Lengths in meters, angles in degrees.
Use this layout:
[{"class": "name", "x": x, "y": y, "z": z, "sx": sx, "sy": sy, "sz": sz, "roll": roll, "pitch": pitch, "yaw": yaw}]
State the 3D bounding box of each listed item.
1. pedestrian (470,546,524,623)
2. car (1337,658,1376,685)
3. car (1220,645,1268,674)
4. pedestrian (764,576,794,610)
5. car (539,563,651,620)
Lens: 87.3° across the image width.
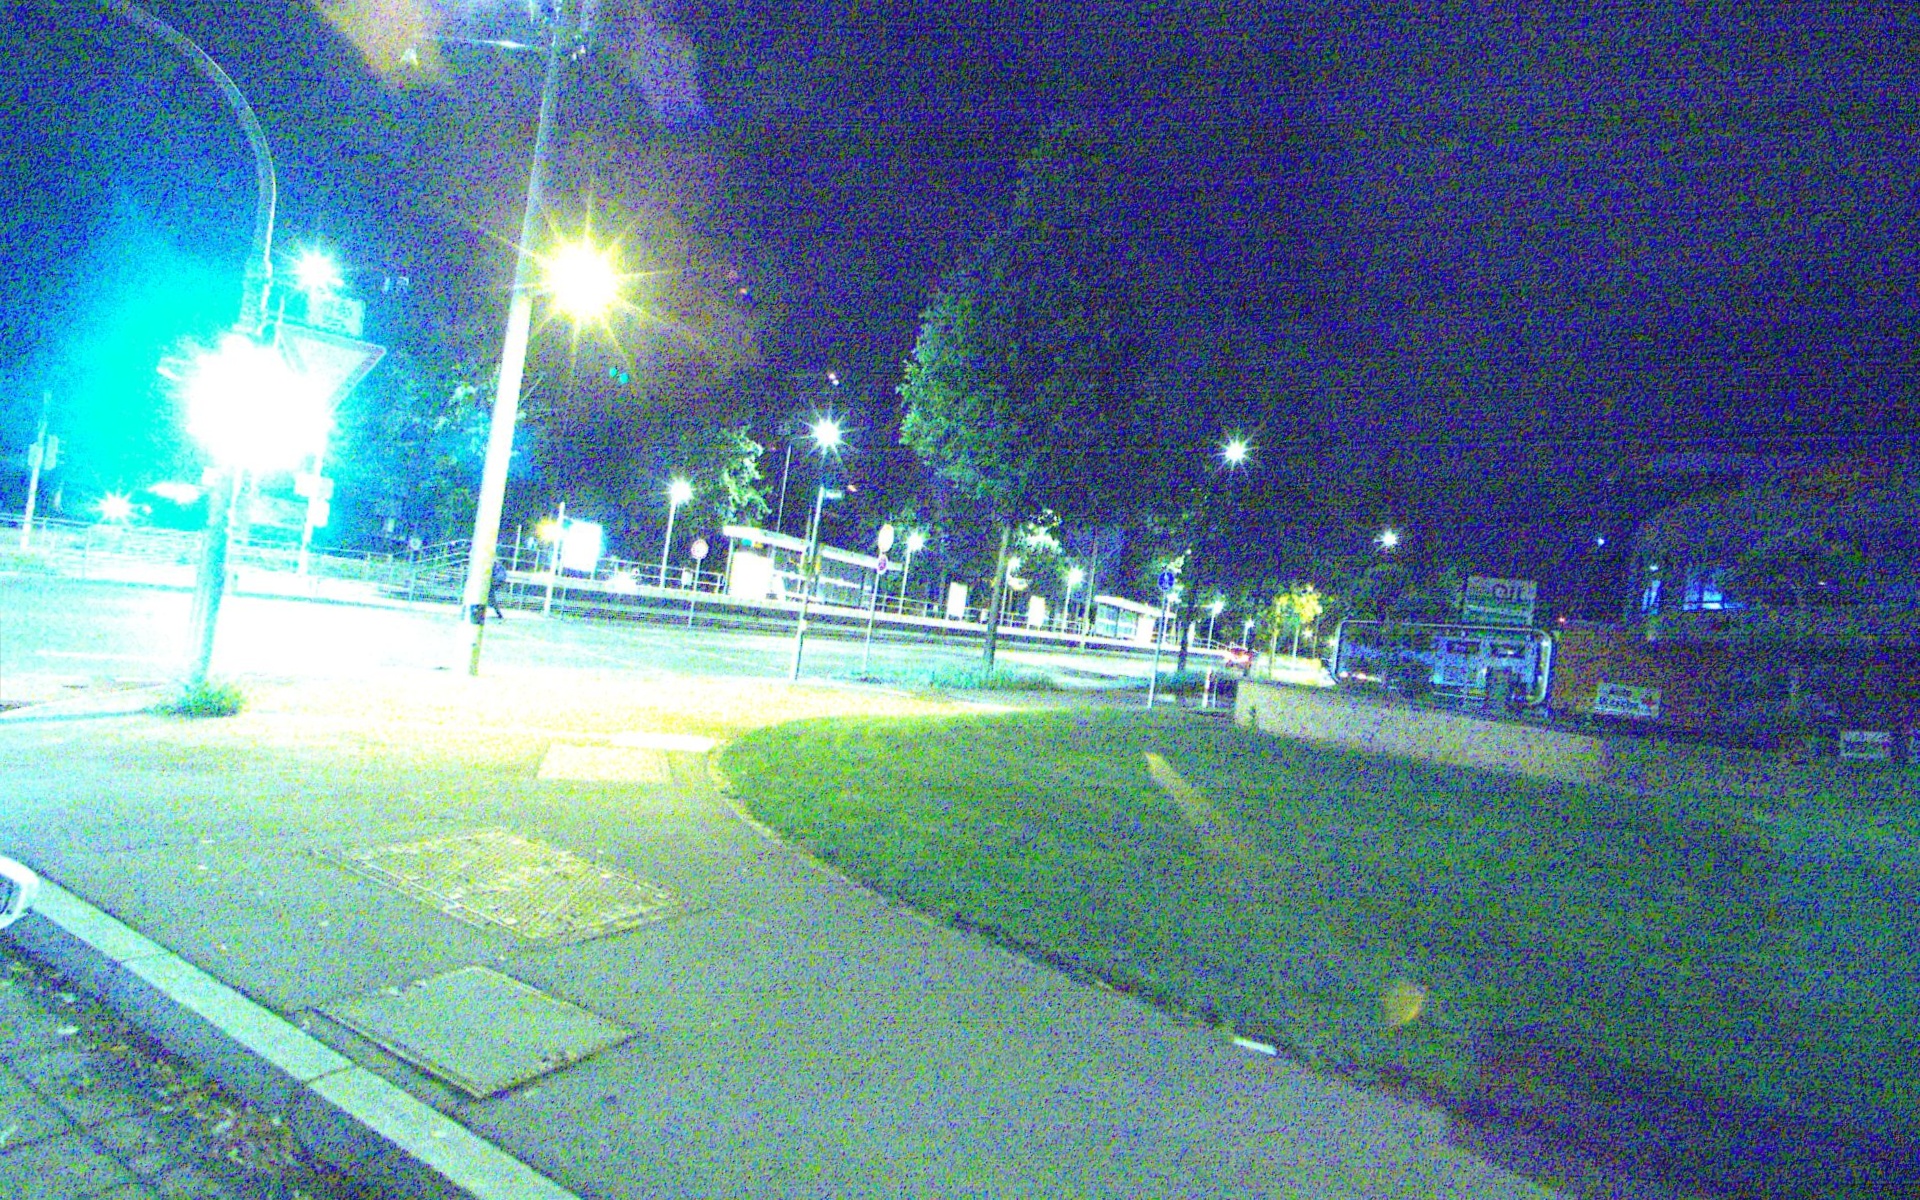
[{"class": "pedestrian", "x": -11.155, "y": -0.376, "z": 24.228, "sx": 0.820, "sy": 1.767, "sz": 0.755, "roll": 6, "pitch": 1, "yaw": 31}, {"class": "car", "x": 29.979, "y": 5.365, "z": 76.029, "sx": 1.780, "sy": 1.684, "sz": 3.988, "roll": 10, "pitch": 3, "yaw": 33}, {"class": "car", "x": 20.674, "y": 4.338, "z": 73.017, "sx": 1.834, "sy": 1.679, "sz": 4.449, "roll": 9, "pitch": 0, "yaw": 35}, {"class": "pedestrian", "x": -8.789, "y": -0.320, "z": 48.781, "sx": 1.129, "sy": 1.518, "sz": 1.073, "roll": 6, "pitch": -1, "yaw": -19}, {"class": "car", "x": -15.600, "y": -0.342, "z": 43.127, "sx": 1.970, "sy": 2.039, "sz": 3.985, "roll": 6, "pitch": 0, "yaw": 36}]
